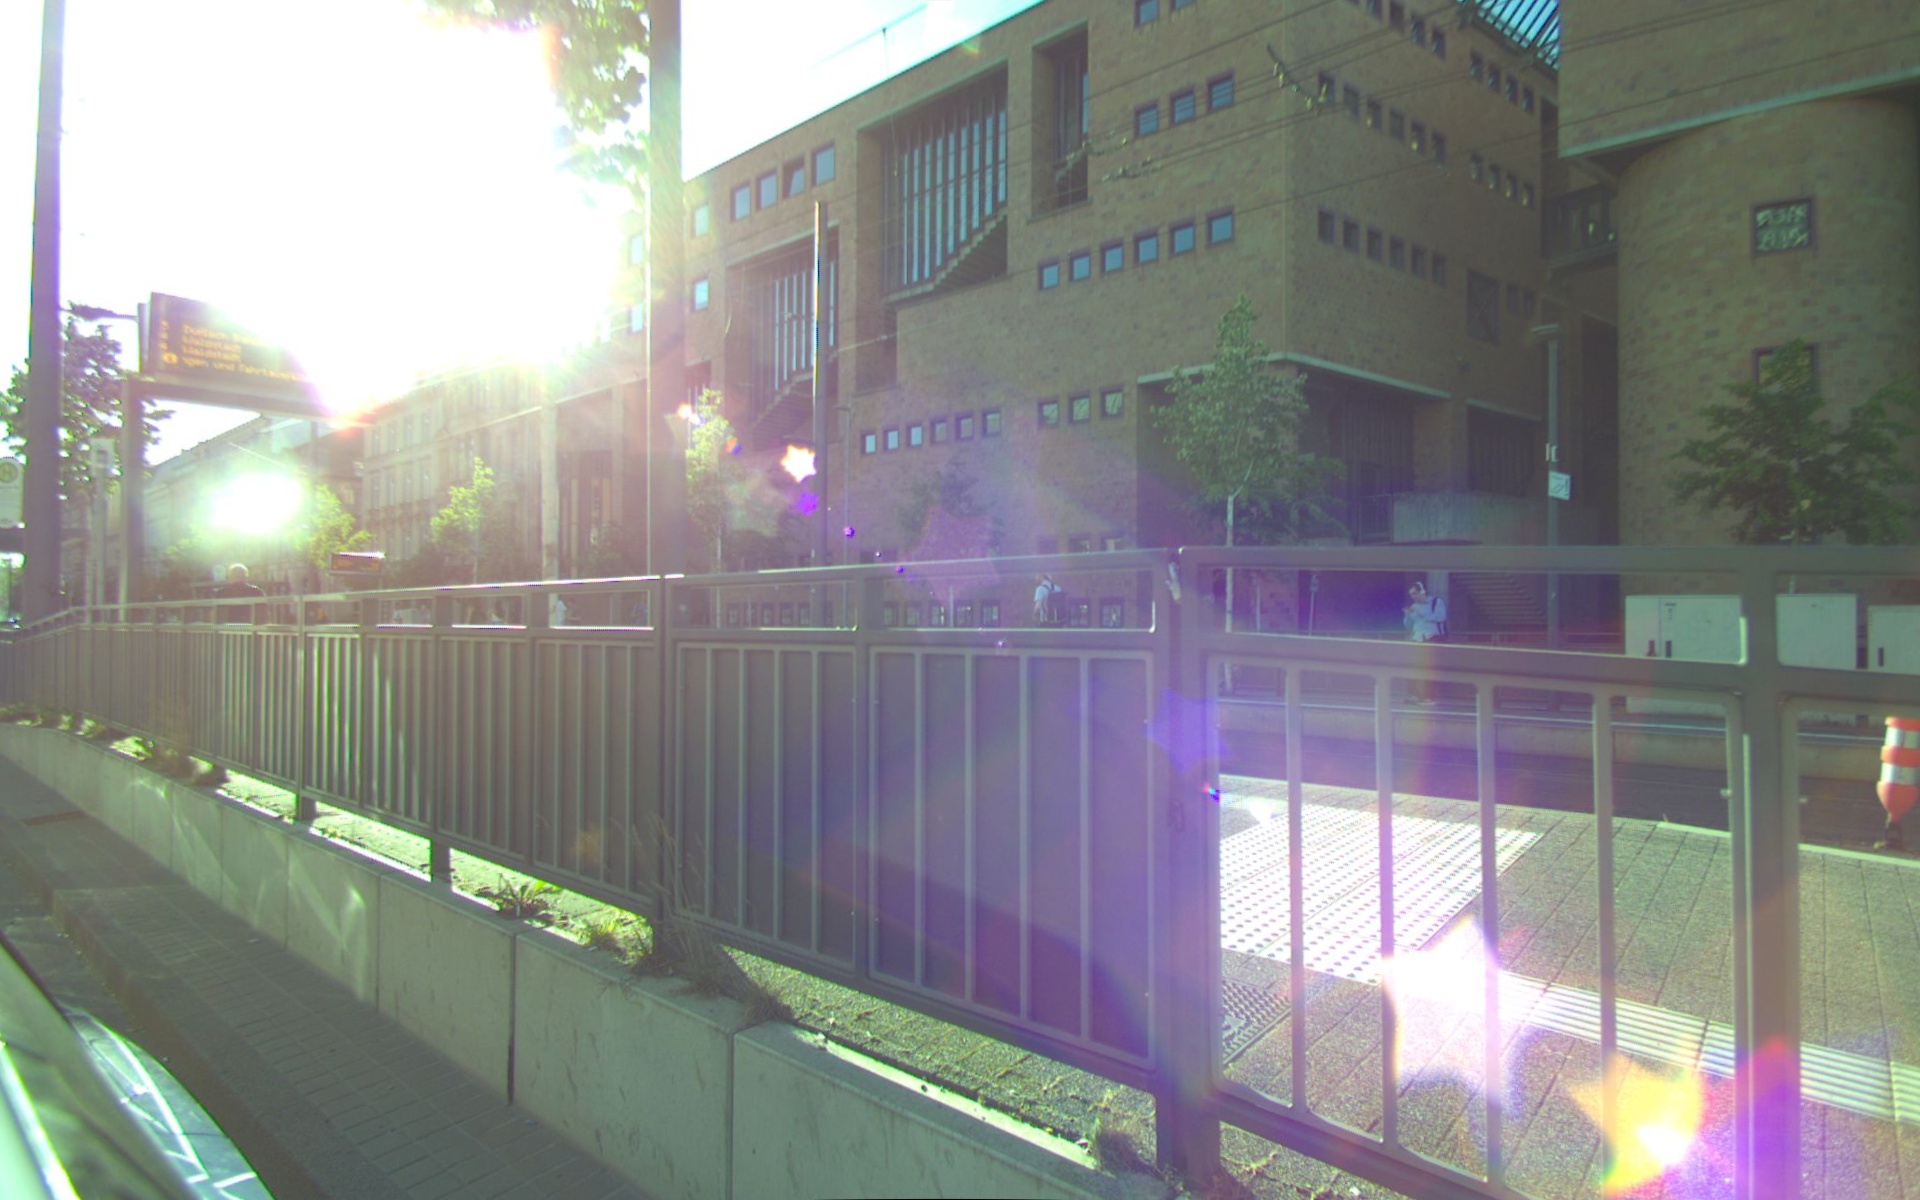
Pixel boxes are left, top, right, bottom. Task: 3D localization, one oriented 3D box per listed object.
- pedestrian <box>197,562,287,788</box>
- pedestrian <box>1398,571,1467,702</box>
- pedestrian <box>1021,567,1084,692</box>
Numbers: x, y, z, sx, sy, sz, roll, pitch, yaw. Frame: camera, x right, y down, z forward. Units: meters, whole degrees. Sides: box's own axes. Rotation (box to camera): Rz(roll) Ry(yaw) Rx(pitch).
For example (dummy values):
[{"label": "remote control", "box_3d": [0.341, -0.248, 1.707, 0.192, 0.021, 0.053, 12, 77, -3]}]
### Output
[{"label": "pedestrian", "box_3d": [-8.144, 0.814, 11.481, 0.625, 2.461, 0.676, -1, 0, 38]}, {"label": "pedestrian", "box_3d": [6.141, 0.458, 13.155, 0.684, 1.647, 0.660, -1, 0, 37]}, {"label": "pedestrian", "box_3d": [1.389, 0.422, 15.202, 0.668, 1.821, 0.677, -1, 0, 40]}]
